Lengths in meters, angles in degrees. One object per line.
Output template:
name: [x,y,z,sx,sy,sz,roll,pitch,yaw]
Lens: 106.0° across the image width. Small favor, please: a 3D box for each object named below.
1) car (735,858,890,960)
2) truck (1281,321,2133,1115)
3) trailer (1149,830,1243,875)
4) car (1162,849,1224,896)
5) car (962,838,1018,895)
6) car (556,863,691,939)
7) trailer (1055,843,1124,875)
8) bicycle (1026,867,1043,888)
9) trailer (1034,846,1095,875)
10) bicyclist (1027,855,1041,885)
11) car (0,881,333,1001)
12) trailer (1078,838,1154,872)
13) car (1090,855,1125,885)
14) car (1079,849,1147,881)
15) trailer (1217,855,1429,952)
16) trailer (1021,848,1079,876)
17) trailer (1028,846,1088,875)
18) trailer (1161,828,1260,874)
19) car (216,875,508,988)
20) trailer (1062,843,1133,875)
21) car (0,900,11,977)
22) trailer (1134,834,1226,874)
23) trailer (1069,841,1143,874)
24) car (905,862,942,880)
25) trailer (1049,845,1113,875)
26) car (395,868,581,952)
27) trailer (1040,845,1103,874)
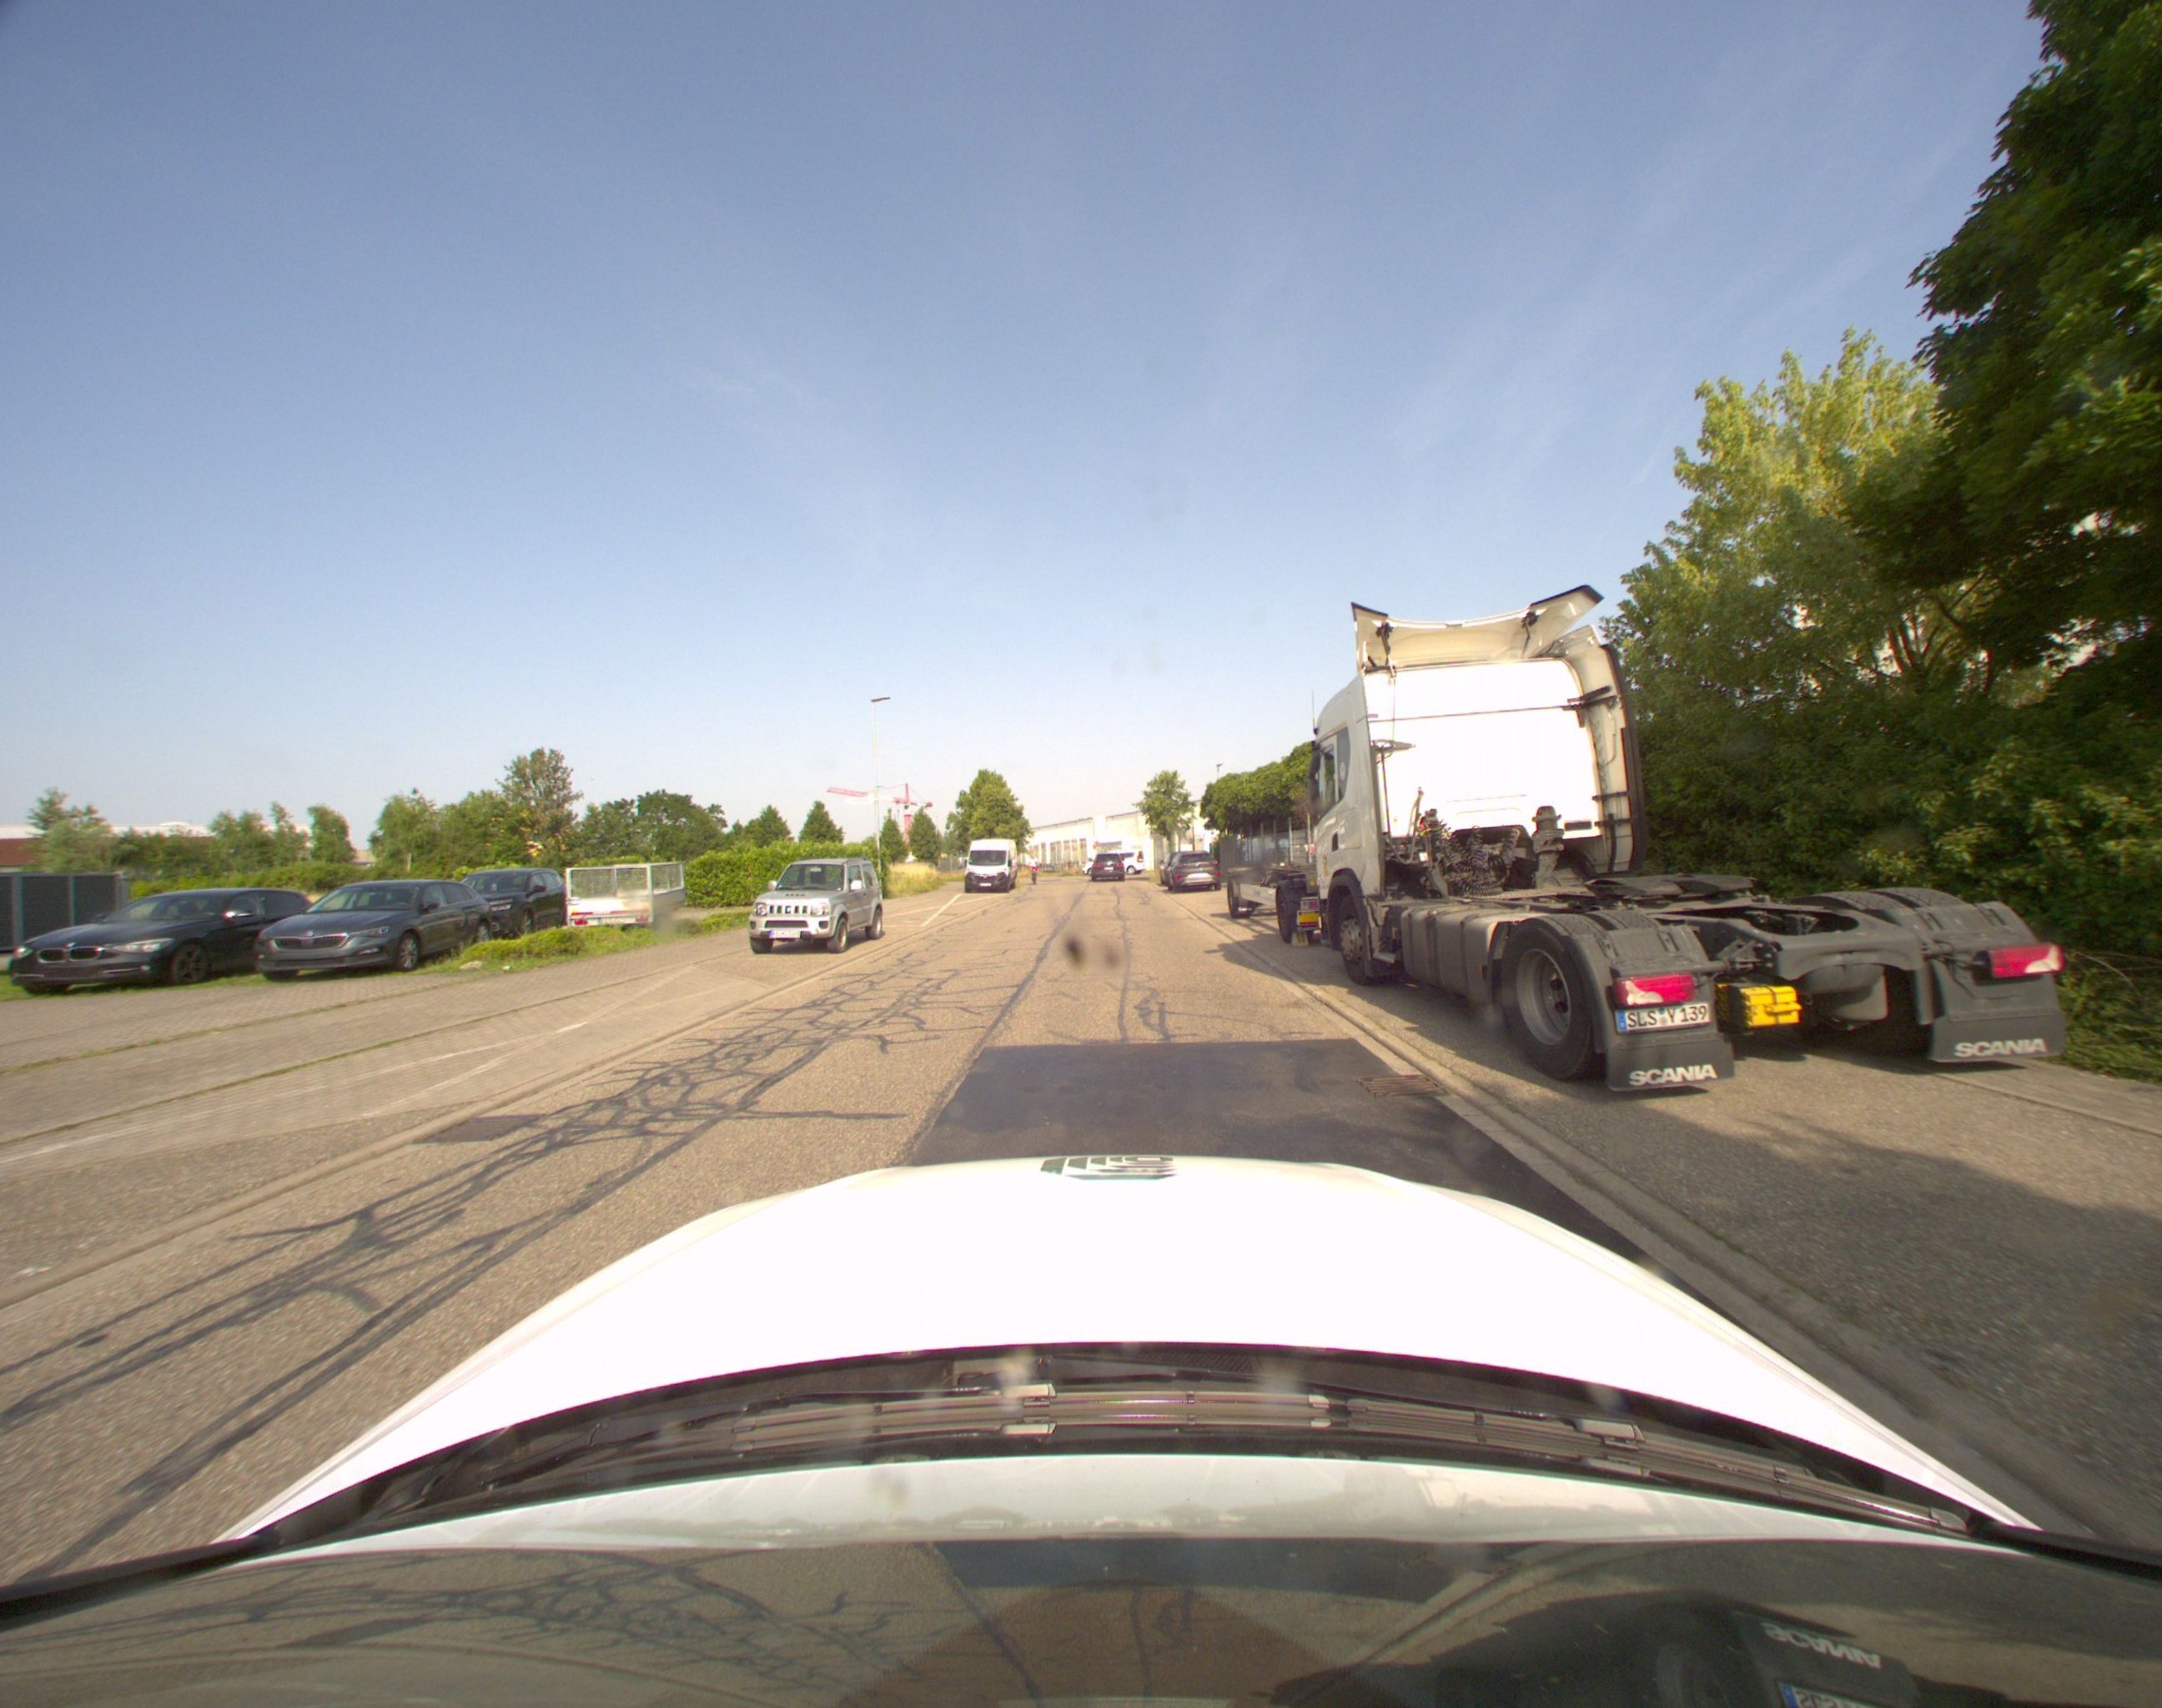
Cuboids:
car: [-4.957,0.941,15.572,1.591,1.651,3.646,-2,0,2]
truck: [4.013,-0.712,7.282,2.683,3.964,6.047,-5,0,0]
trailer: [11.090,-0.136,78.312,8.567,3.893,2.756,-3,-1,-21]
car: [4.216,0.707,31.232,1.873,1.574,4.115,-4,-1,2]
car: [-4.382,0.601,40.170,2.096,2.595,6.500,0,0,-1]
car: [-10.528,1.016,19.037,1.836,1.572,3.797,0,-1,-15]
trailer: [1.060,0.681,103.375,8.340,3.894,2.755,0,-1,-22]
bicycle: [-2.697,1.334,47.525,0.713,1.122,2.220,-5,0,2]
trailer: [-2.298,0.856,112.603,7.994,3.894,2.755,0,-1,-22]
bicyclist: [-2.716,0.913,47.542,0.637,1.719,1.166,-2,-1,2]
car: [-14.400,1.239,13.172,1.683,1.476,4.324,-2,0,-18]
trailer: [4.060,0.144,94.686,8.570,3.894,2.755,0,-1,-22]
car: [1.579,0.945,48.267,1.873,1.586,4.115,-2,-1,2]
car: [2.380,0.822,60.451,4.574,2.110,2.137,-3,-1,16]
trailer: [4.050,0.720,15.292,1.931,1.235,7.454,-4,0,2]
trailer: [-4.528,1.145,118.466,7.994,3.894,2.755,0,-1,-22]
trailer: [-3.272,0.936,115.699,7.994,3.894,2.755,0,-1,-22]
trailer: [12.005,-0.303,75.474,8.564,3.894,2.757,-2,-3,-20]
car: [-11.859,1.155,13.916,1.980,1.476,4.398,-2,0,-16]
trailer: [2.030,0.628,100.487,8.340,3.894,2.755,0,-1,-22]
car: [-19.073,1.463,11.909,1.995,1.324,4.324,-2,0,-18]
trailer: [9.869,0.023,81.158,8.766,3.761,2.770,-1,-2,-22]
trailer: [2.985,0.441,97.670,8.570,3.894,2.755,0,-1,-22]
car: [-15.565,1.679,80.325,1.984,1.574,4.068,-2,-1,-36]
trailer: [0.026,0.840,107.195,8.065,3.894,2.755,0,-1,-22]
car: [-13.274,1.161,18.615,1.993,1.658,4.398,0,-1,-16]
trailer: [-1.266,0.760,109.868,7.994,3.894,2.755,0,-1,-22]
